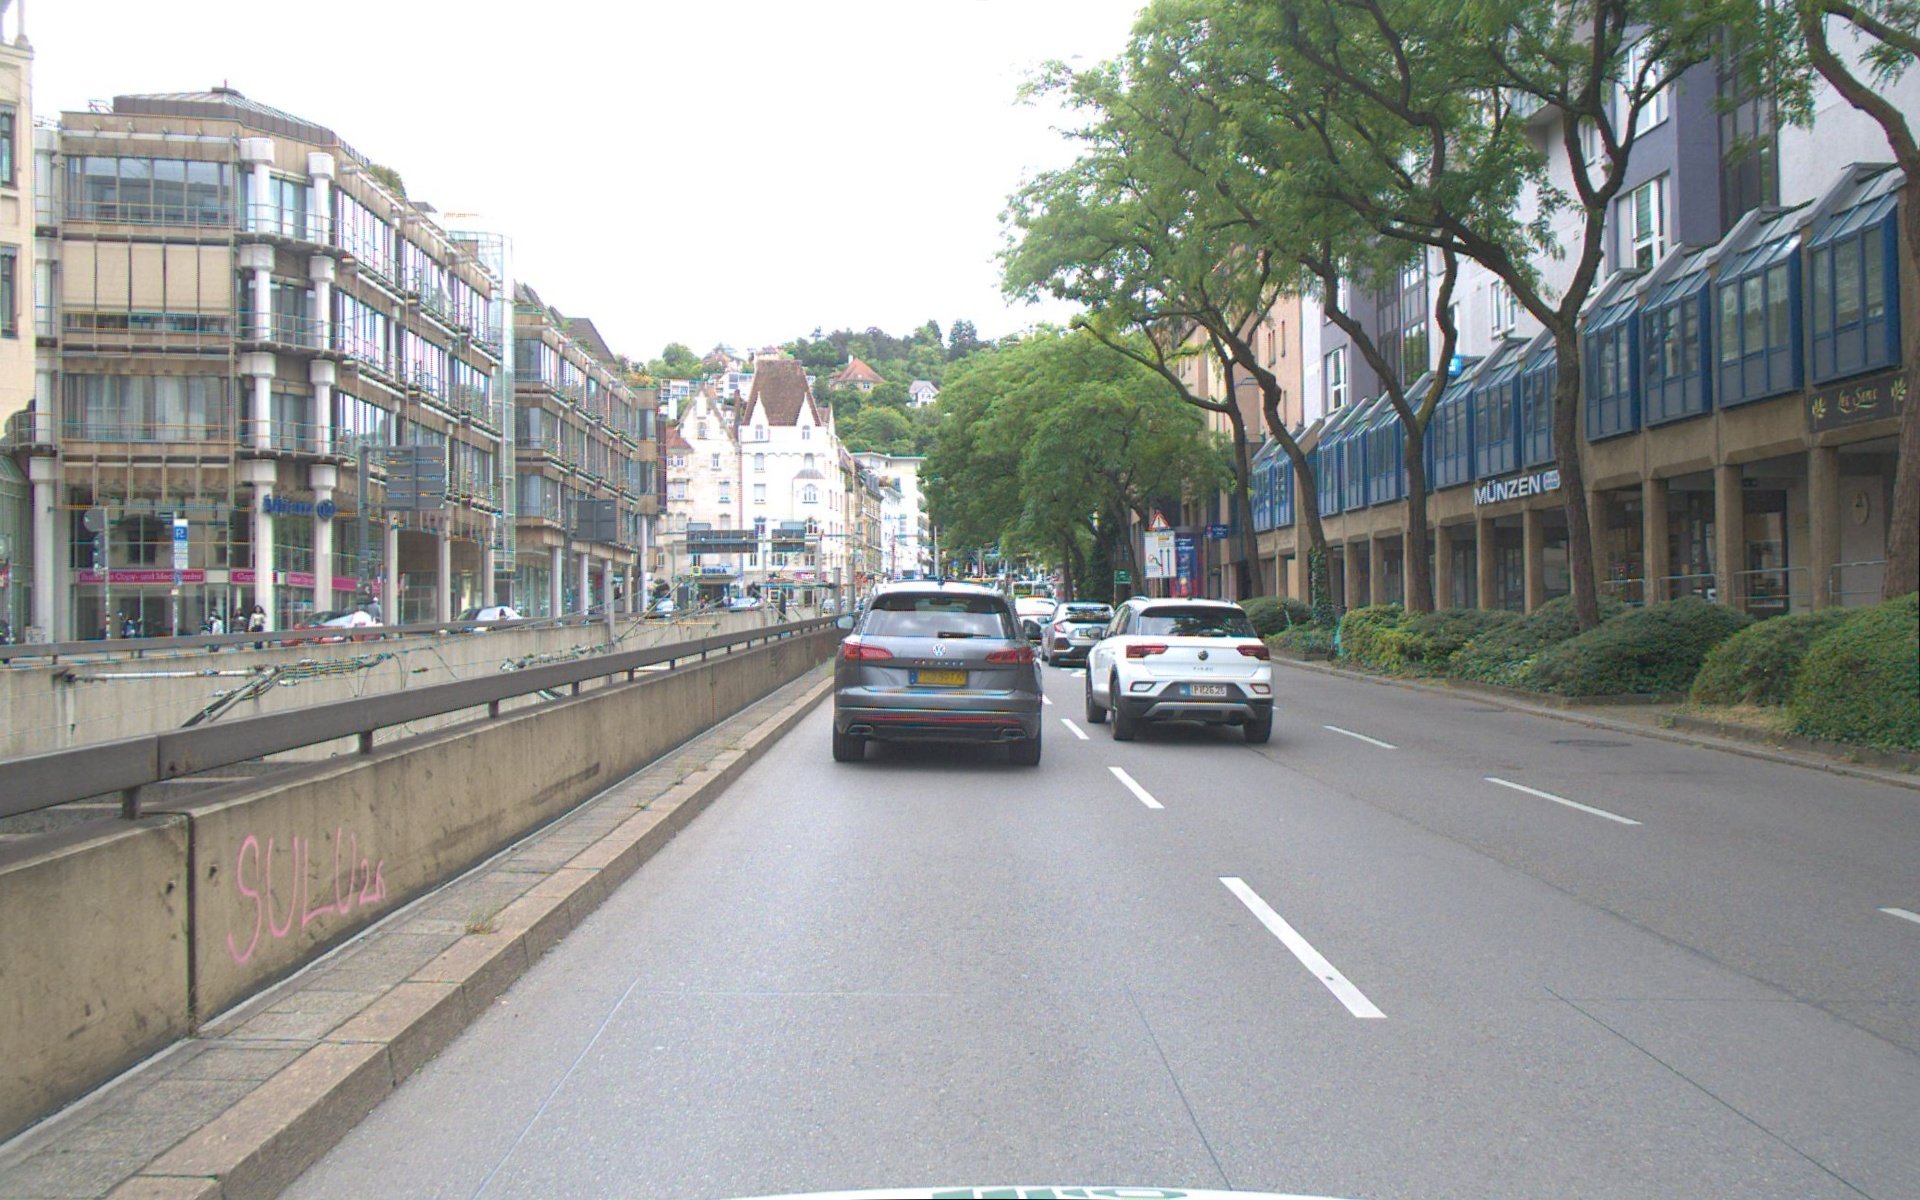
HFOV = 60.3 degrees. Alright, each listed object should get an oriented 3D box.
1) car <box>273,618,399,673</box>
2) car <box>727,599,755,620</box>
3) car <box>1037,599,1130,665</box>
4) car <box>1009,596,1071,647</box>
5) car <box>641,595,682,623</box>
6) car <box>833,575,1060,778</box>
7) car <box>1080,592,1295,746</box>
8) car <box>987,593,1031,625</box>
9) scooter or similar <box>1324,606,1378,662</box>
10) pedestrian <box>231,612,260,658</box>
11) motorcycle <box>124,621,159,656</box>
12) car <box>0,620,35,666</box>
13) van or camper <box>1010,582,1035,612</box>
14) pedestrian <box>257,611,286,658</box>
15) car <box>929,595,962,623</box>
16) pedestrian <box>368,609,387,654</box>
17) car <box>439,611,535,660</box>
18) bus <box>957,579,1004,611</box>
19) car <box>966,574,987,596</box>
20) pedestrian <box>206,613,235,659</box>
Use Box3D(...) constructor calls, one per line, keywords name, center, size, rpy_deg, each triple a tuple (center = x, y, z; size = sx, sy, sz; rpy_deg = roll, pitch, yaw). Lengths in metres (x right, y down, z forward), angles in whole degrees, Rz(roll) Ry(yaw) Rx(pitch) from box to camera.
Box3D(name="car", center=(-18.917, 1.353, 50.388), size=(1.953, 1.490, 4.885), rpy_deg=(-1, 0, 0))
Box3D(name="car", center=(-19.362, 0.800, 146.283), size=(1.953, 1.798, 4.280), rpy_deg=(-1, 0, -1))
Box3D(name="car", center=(2.810, 0.746, 38.399), size=(1.796, 1.457, 4.146), rpy_deg=(0, -1, -1))
Box3D(name="car", center=(2.574, 0.690, 53.709), size=(1.794, 1.544, 3.767), rpy_deg=(-2, 0, 0))
Box3D(name="car", center=(-19.931, 0.617, 110.618), size=(1.953, 1.798, 4.280), rpy_deg=(-1, 0, -1))
Box3D(name="car", center=(-0.235, 0.643, 16.177), size=(1.931, 1.725, 4.221), rpy_deg=(0, 0, -3))
Box3D(name="car", center=(2.537, 0.738, 19.353), size=(1.761, 1.572, 3.933), rpy_deg=(2, 0, -3))
Box3D(name="car", center=(2.221, 0.407, 76.087), size=(1.795, 1.387, 3.766), rpy_deg=(-2, 0, -1))
Box3D(name="scooter or similar", center=(8.635, 0.747, 36.529), size=(1.083, 1.202, 0.428), rpy_deg=(-2, 0, 9))
Box3D(name="pedestrian", center=(-24.634, 1.204, 57.021), size=(0.687, 1.571, 0.845), rpy_deg=(-1, 0, -8))
Box3D(name="motorcycle", center=(-31.778, 1.489, 64.251), size=(0.778, 1.279, 1.932), rpy_deg=(-1, 0, -13))
Box3D(name="car", center=(-31.989, 1.403, 53.303), size=(3.376, 1.461, 1.649), rpy_deg=(-1, 0, -2))
Box3D(name="van or camper", center=(6.979, -0.364, 185.118), size=(2.572, 3.234, 5.806), rpy_deg=(-1, 0, 4))
Box3D(name="pedestrian", center=(-23.835, 1.186, 57.262), size=(0.687, 1.571, 0.845), rpy_deg=(-1, 0, -8))
Box3D(name="car", center=(-0.886, 0.567, 99.835), size=(1.796, 1.594, 3.764), rpy_deg=(-2, 0, -3))
Box3D(name="pedestrian", center=(-23.937, 1.290, 67.986), size=(0.521, 1.824, 0.694), rpy_deg=(1, 0, 0))
Box3D(name="car", center=(-17.169, 1.264, 60.297), size=(1.952, 1.613, 4.888), rpy_deg=(-1, 0, 2))
Box3D(name="bus", center=(2.533, -0.584, 197.959), size=(3.768, 3.593, 17.258), rpy_deg=(-1, 0, 7))
Box3D(name="car", center=(1.525, -1.336, 150.670), size=(1.794, 1.907, 4.871), rpy_deg=(-2, 0, 1))
Box3D(name="pedestrian", center=(-25.439, 1.226, 56.935), size=(0.687, 1.571, 0.845), rpy_deg=(-1, 0, -8))
